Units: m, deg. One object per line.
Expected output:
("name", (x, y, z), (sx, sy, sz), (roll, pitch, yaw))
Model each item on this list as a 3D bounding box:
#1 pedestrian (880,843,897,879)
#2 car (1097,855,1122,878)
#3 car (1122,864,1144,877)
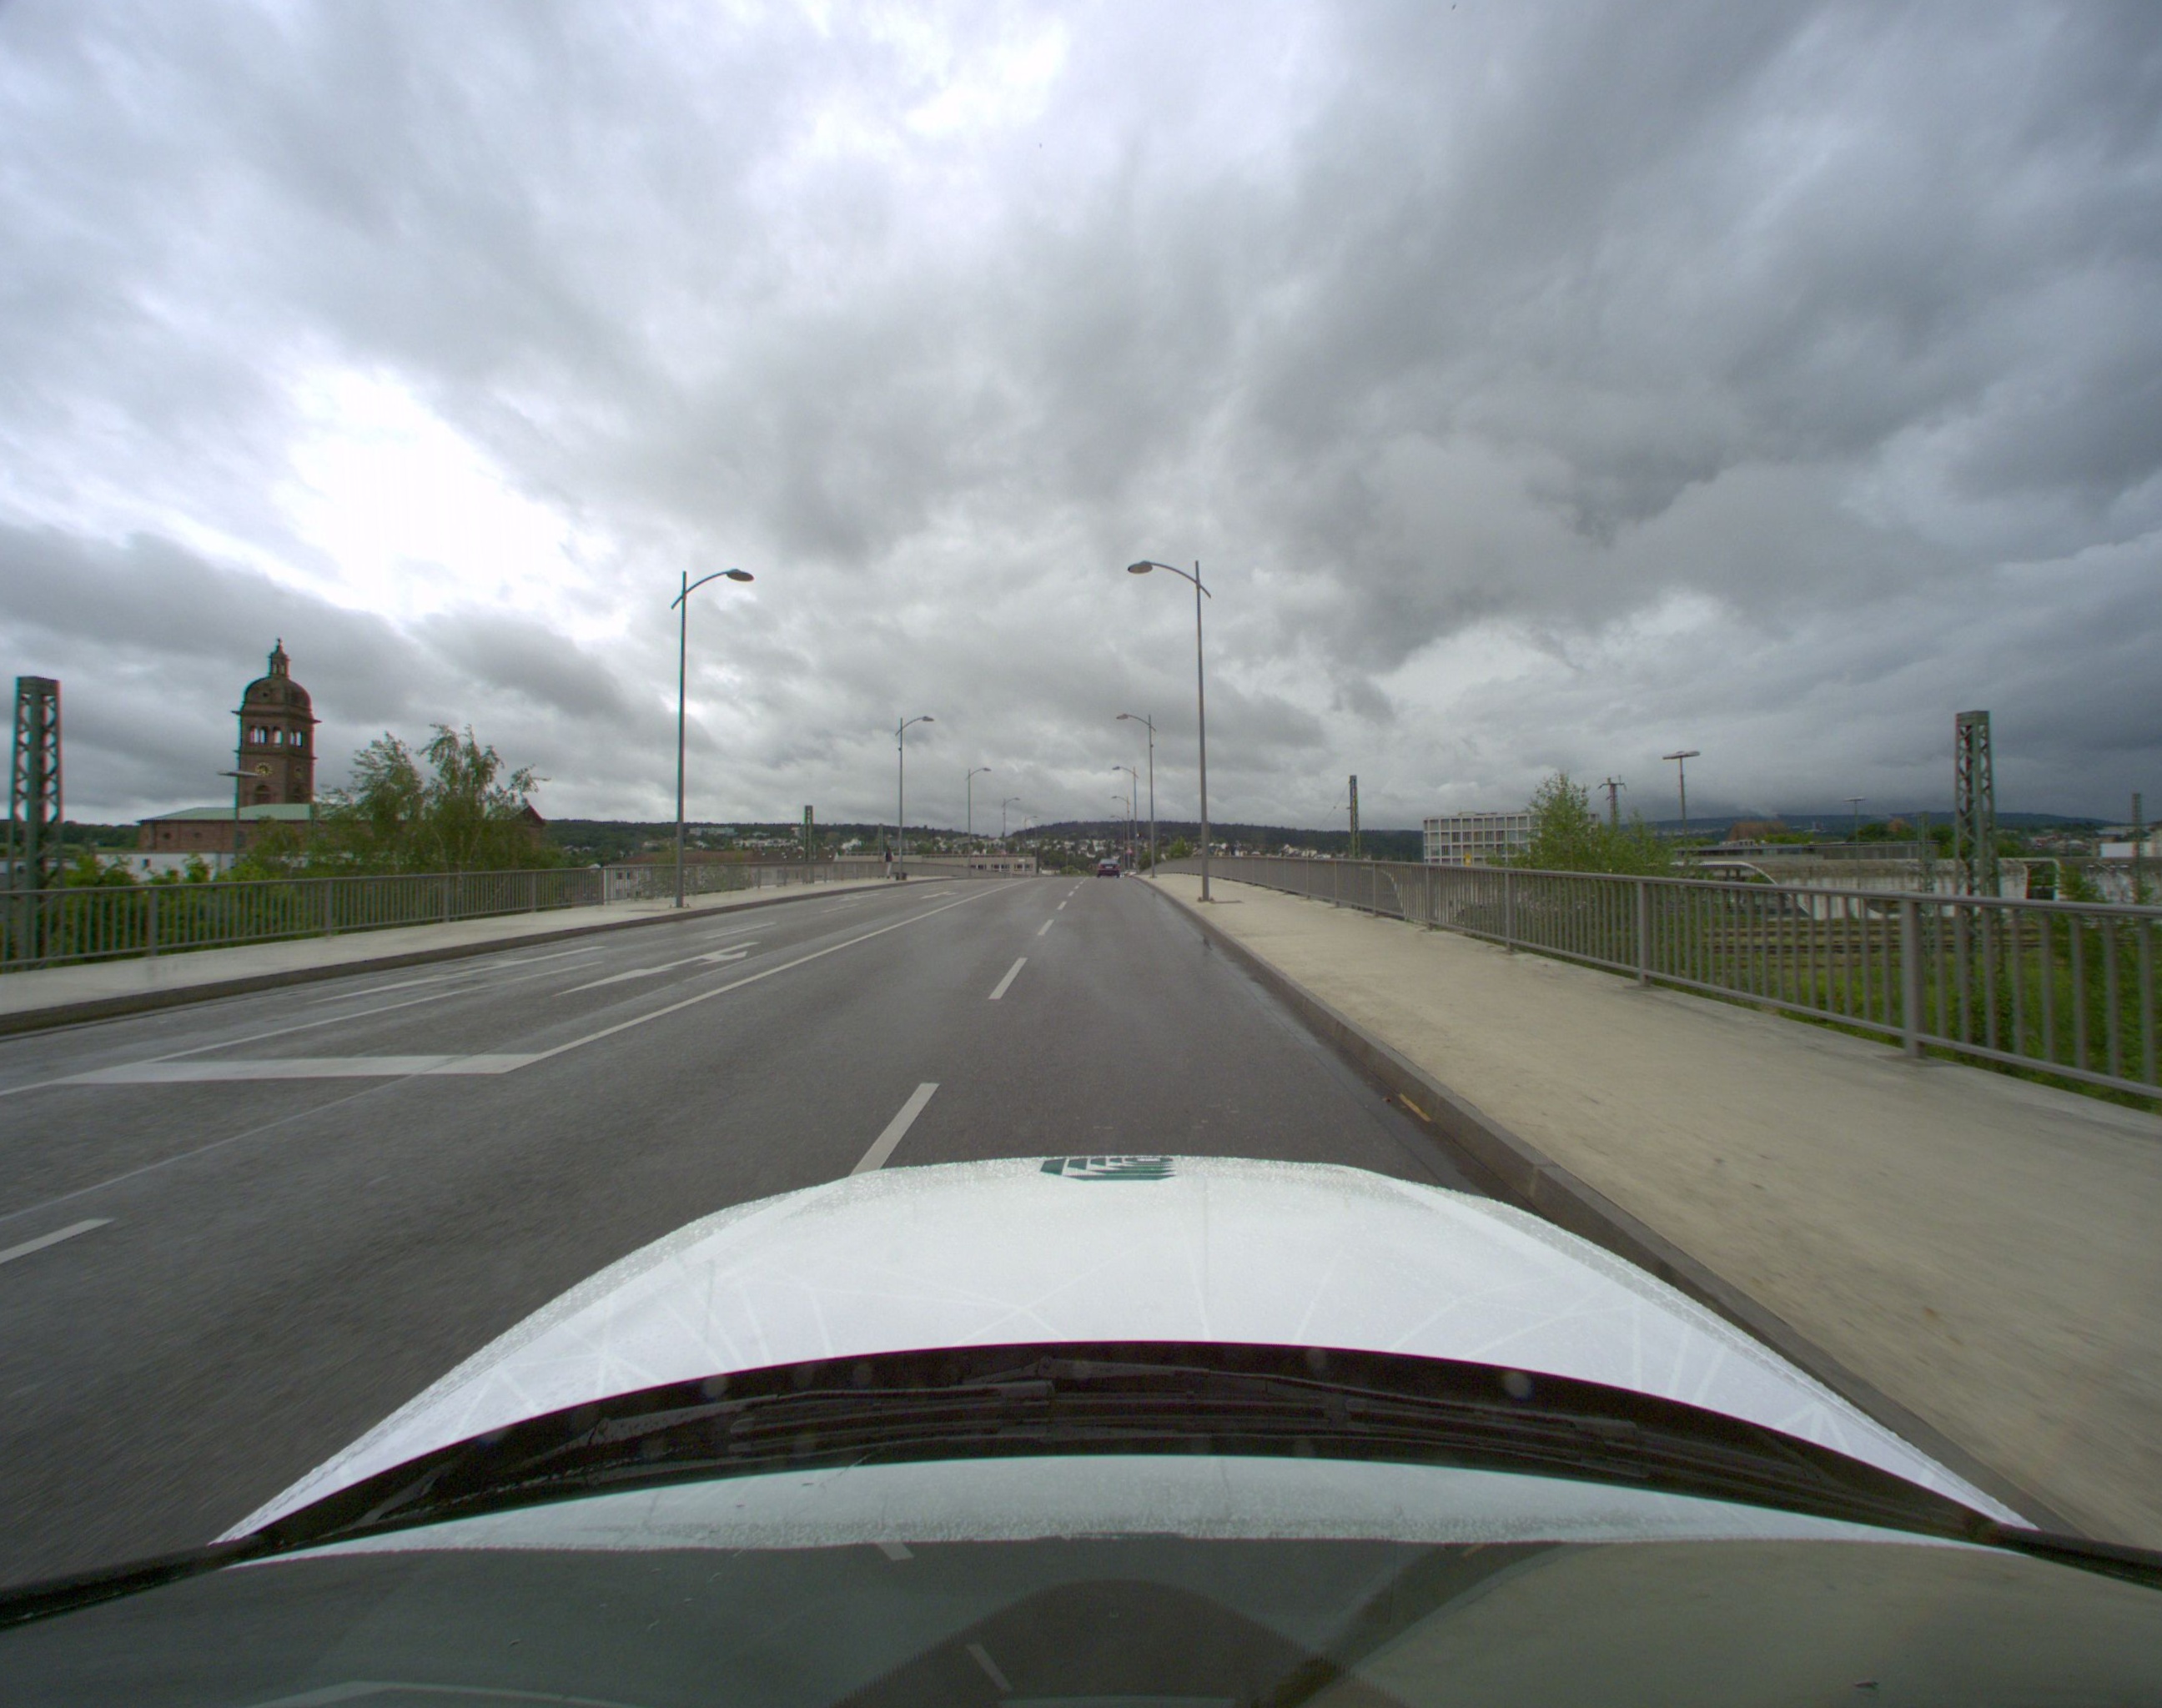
("pedestrian", (-11.362, 0.438, 48.121), (0.753, 2.049, 0.891), (-1, -4, 1))
("car", (2.083, 0.959, 60.068), (1.747, 1.480, 4.000), (-1, -4, 2))
("car", (9.896, 3.158, 155.986), (1.934, 2.099, 4.115), (-10, -11, 43))
